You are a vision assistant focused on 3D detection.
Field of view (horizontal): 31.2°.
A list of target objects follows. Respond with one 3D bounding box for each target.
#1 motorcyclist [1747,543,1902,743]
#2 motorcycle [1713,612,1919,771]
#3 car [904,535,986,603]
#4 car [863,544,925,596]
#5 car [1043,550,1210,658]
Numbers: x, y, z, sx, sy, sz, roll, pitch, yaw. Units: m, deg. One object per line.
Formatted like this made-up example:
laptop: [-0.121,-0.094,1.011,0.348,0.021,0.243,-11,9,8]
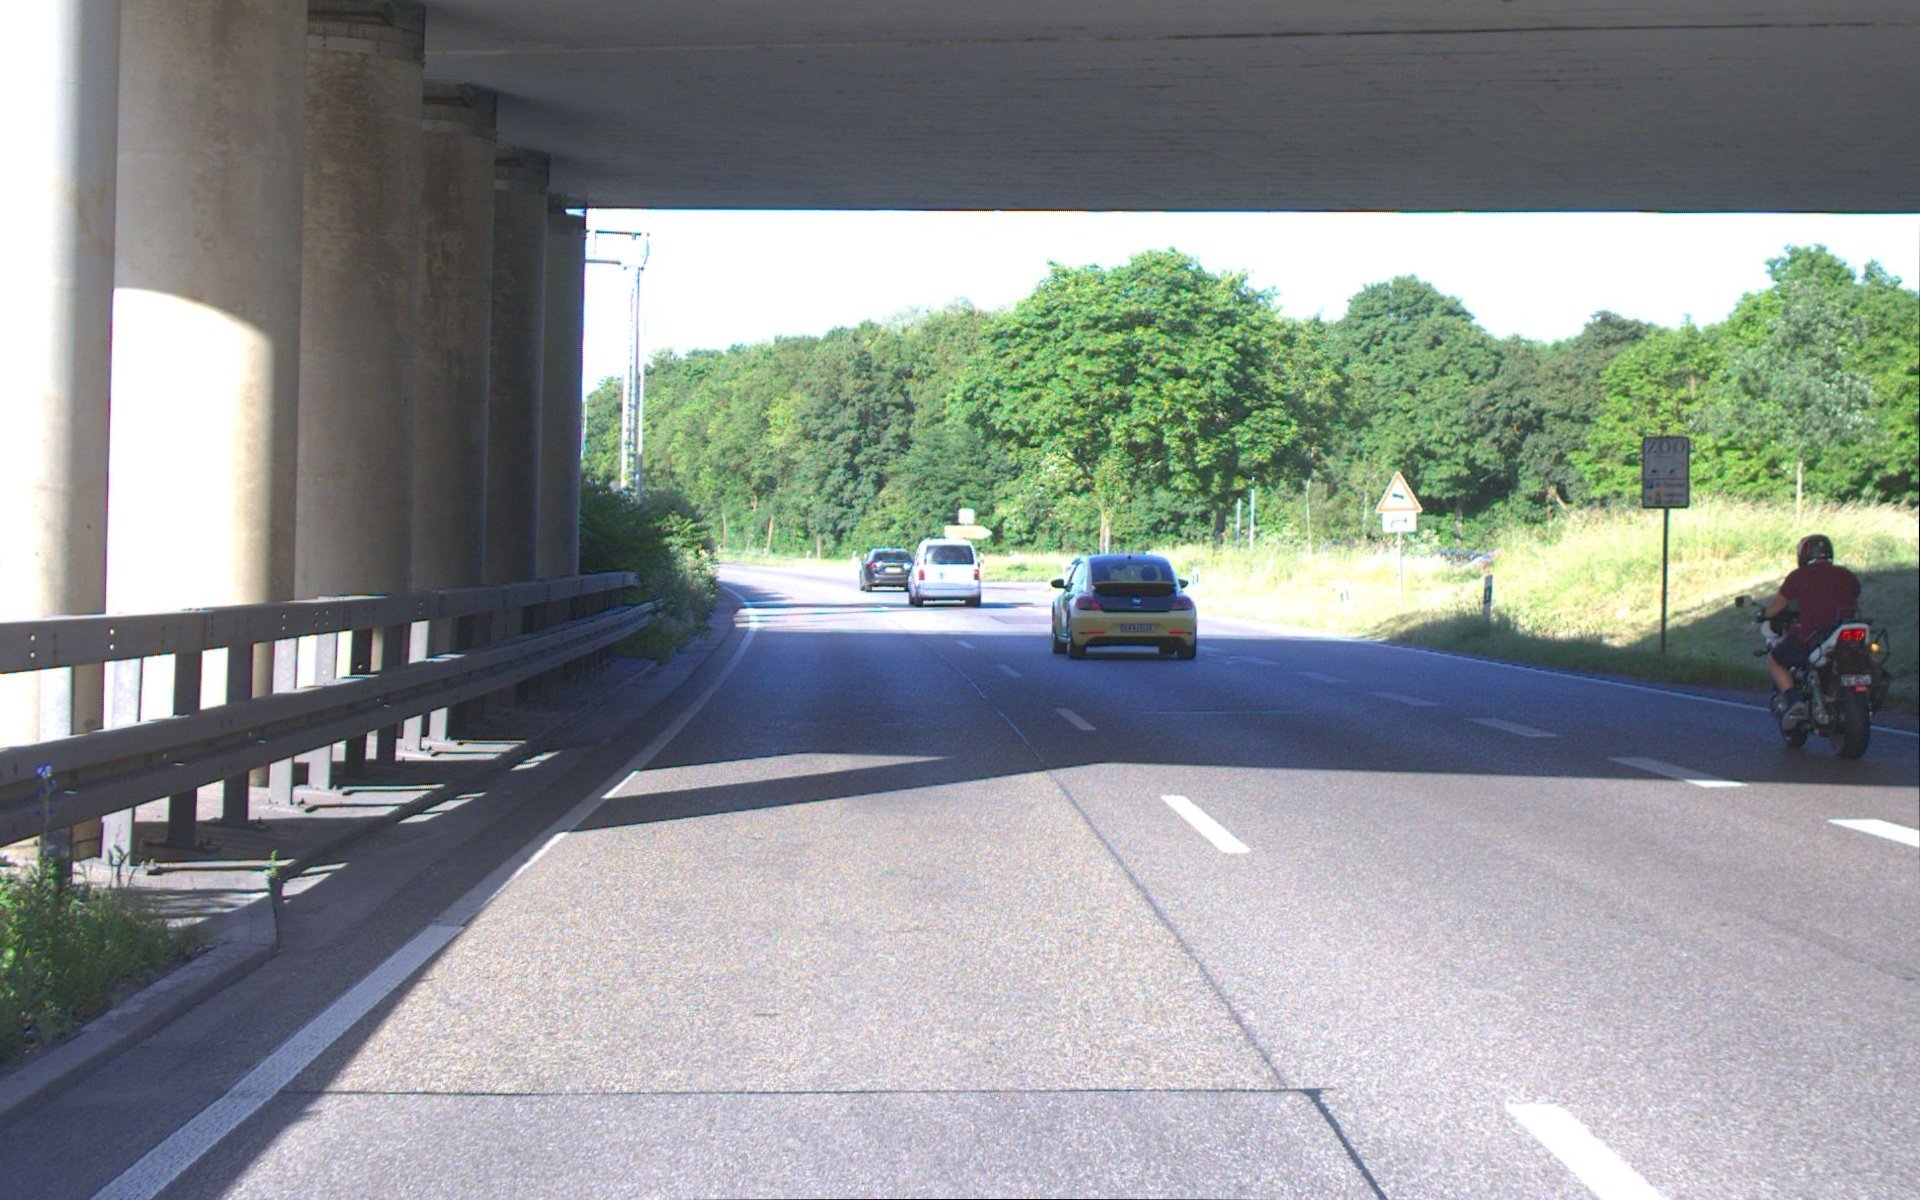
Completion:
motorcyclist: [6.407,0.306,25.523,0.816,1.442,1.094,0,1,-3]
motorcycle: [6.397,0.647,25.555,0.816,1.066,2.836,0,1,-3]
car: [-0.423,-0.831,92.435,1.897,1.761,4.001,-1,0,-4]
car: [-2.285,-1.051,118.093,1.897,1.761,4.001,0,1,-4]
car: [2.326,0.026,49.068,1.897,1.466,4.001,0,1,-4]
